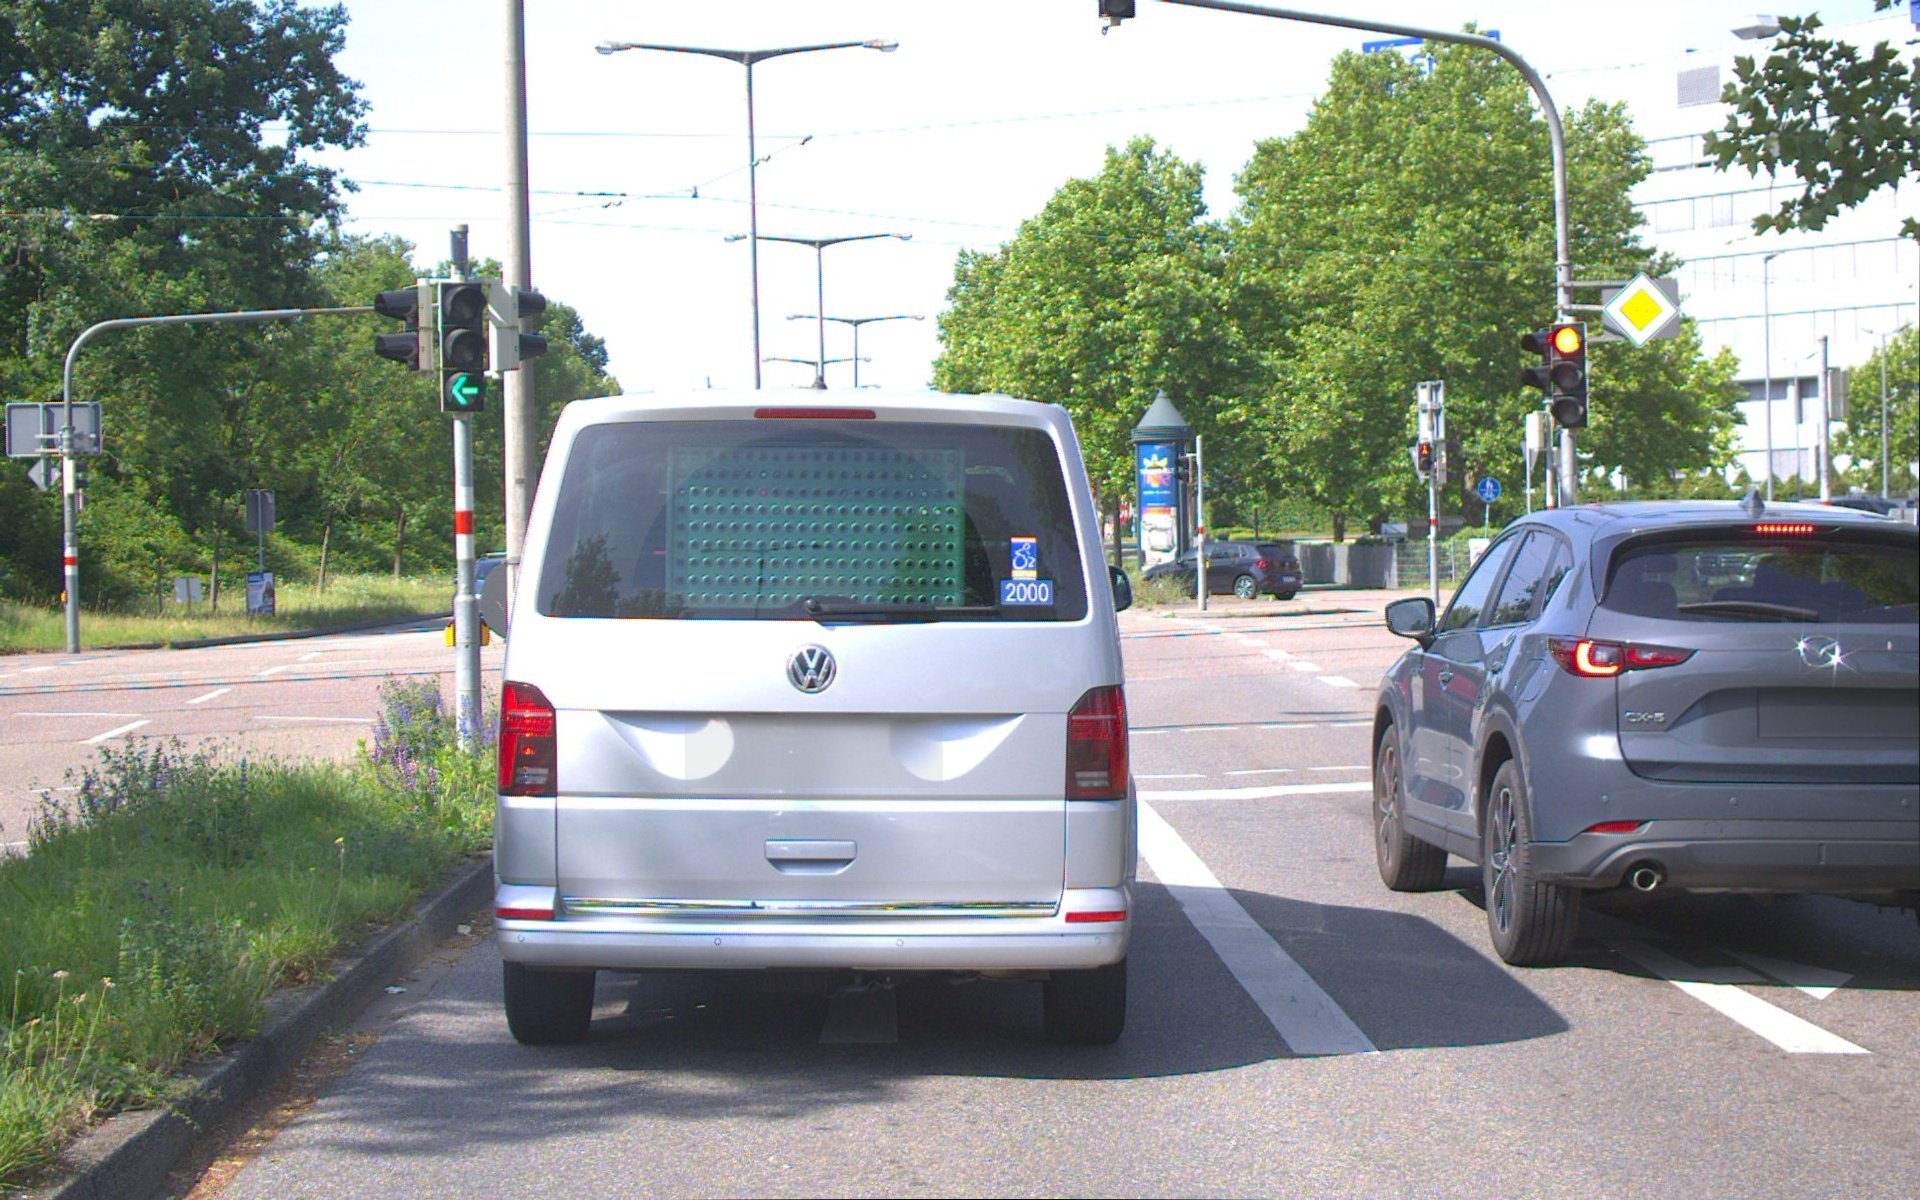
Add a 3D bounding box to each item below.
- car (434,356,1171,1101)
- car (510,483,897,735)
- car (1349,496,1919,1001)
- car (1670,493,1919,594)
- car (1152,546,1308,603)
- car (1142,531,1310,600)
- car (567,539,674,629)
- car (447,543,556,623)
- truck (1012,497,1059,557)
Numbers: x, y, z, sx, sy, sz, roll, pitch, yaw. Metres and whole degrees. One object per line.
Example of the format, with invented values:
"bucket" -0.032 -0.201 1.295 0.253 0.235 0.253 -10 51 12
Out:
"car" -0.449 0.302 11.682 1.941 1.965 5.022 -1 1 -1
"car" -2.270 0.039 29.123 1.968 1.918 4.562 -2 1 -21
"car" 2.737 0.455 13.575 1.766 1.653 4.497 1 1 -1
"car" 15.049 -1.029 61.629 4.613 1.683 1.915 -2 1 -37
"car" 6.344 -0.600 80.803 3.247 1.232 1.646 -1 1 30
"car" 6.264 -0.802 80.803 3.598 1.560 1.999 1 1 15
"car" -6.403 -0.336 65.155 1.808 1.600 4.379 -2 1 -4
"car" -9.371 -0.373 70.526 1.849 1.556 4.001 -2 1 -3
"truck" 5.755 -5.488 259.888 3.191 4.340 13.146 -1 1 3
